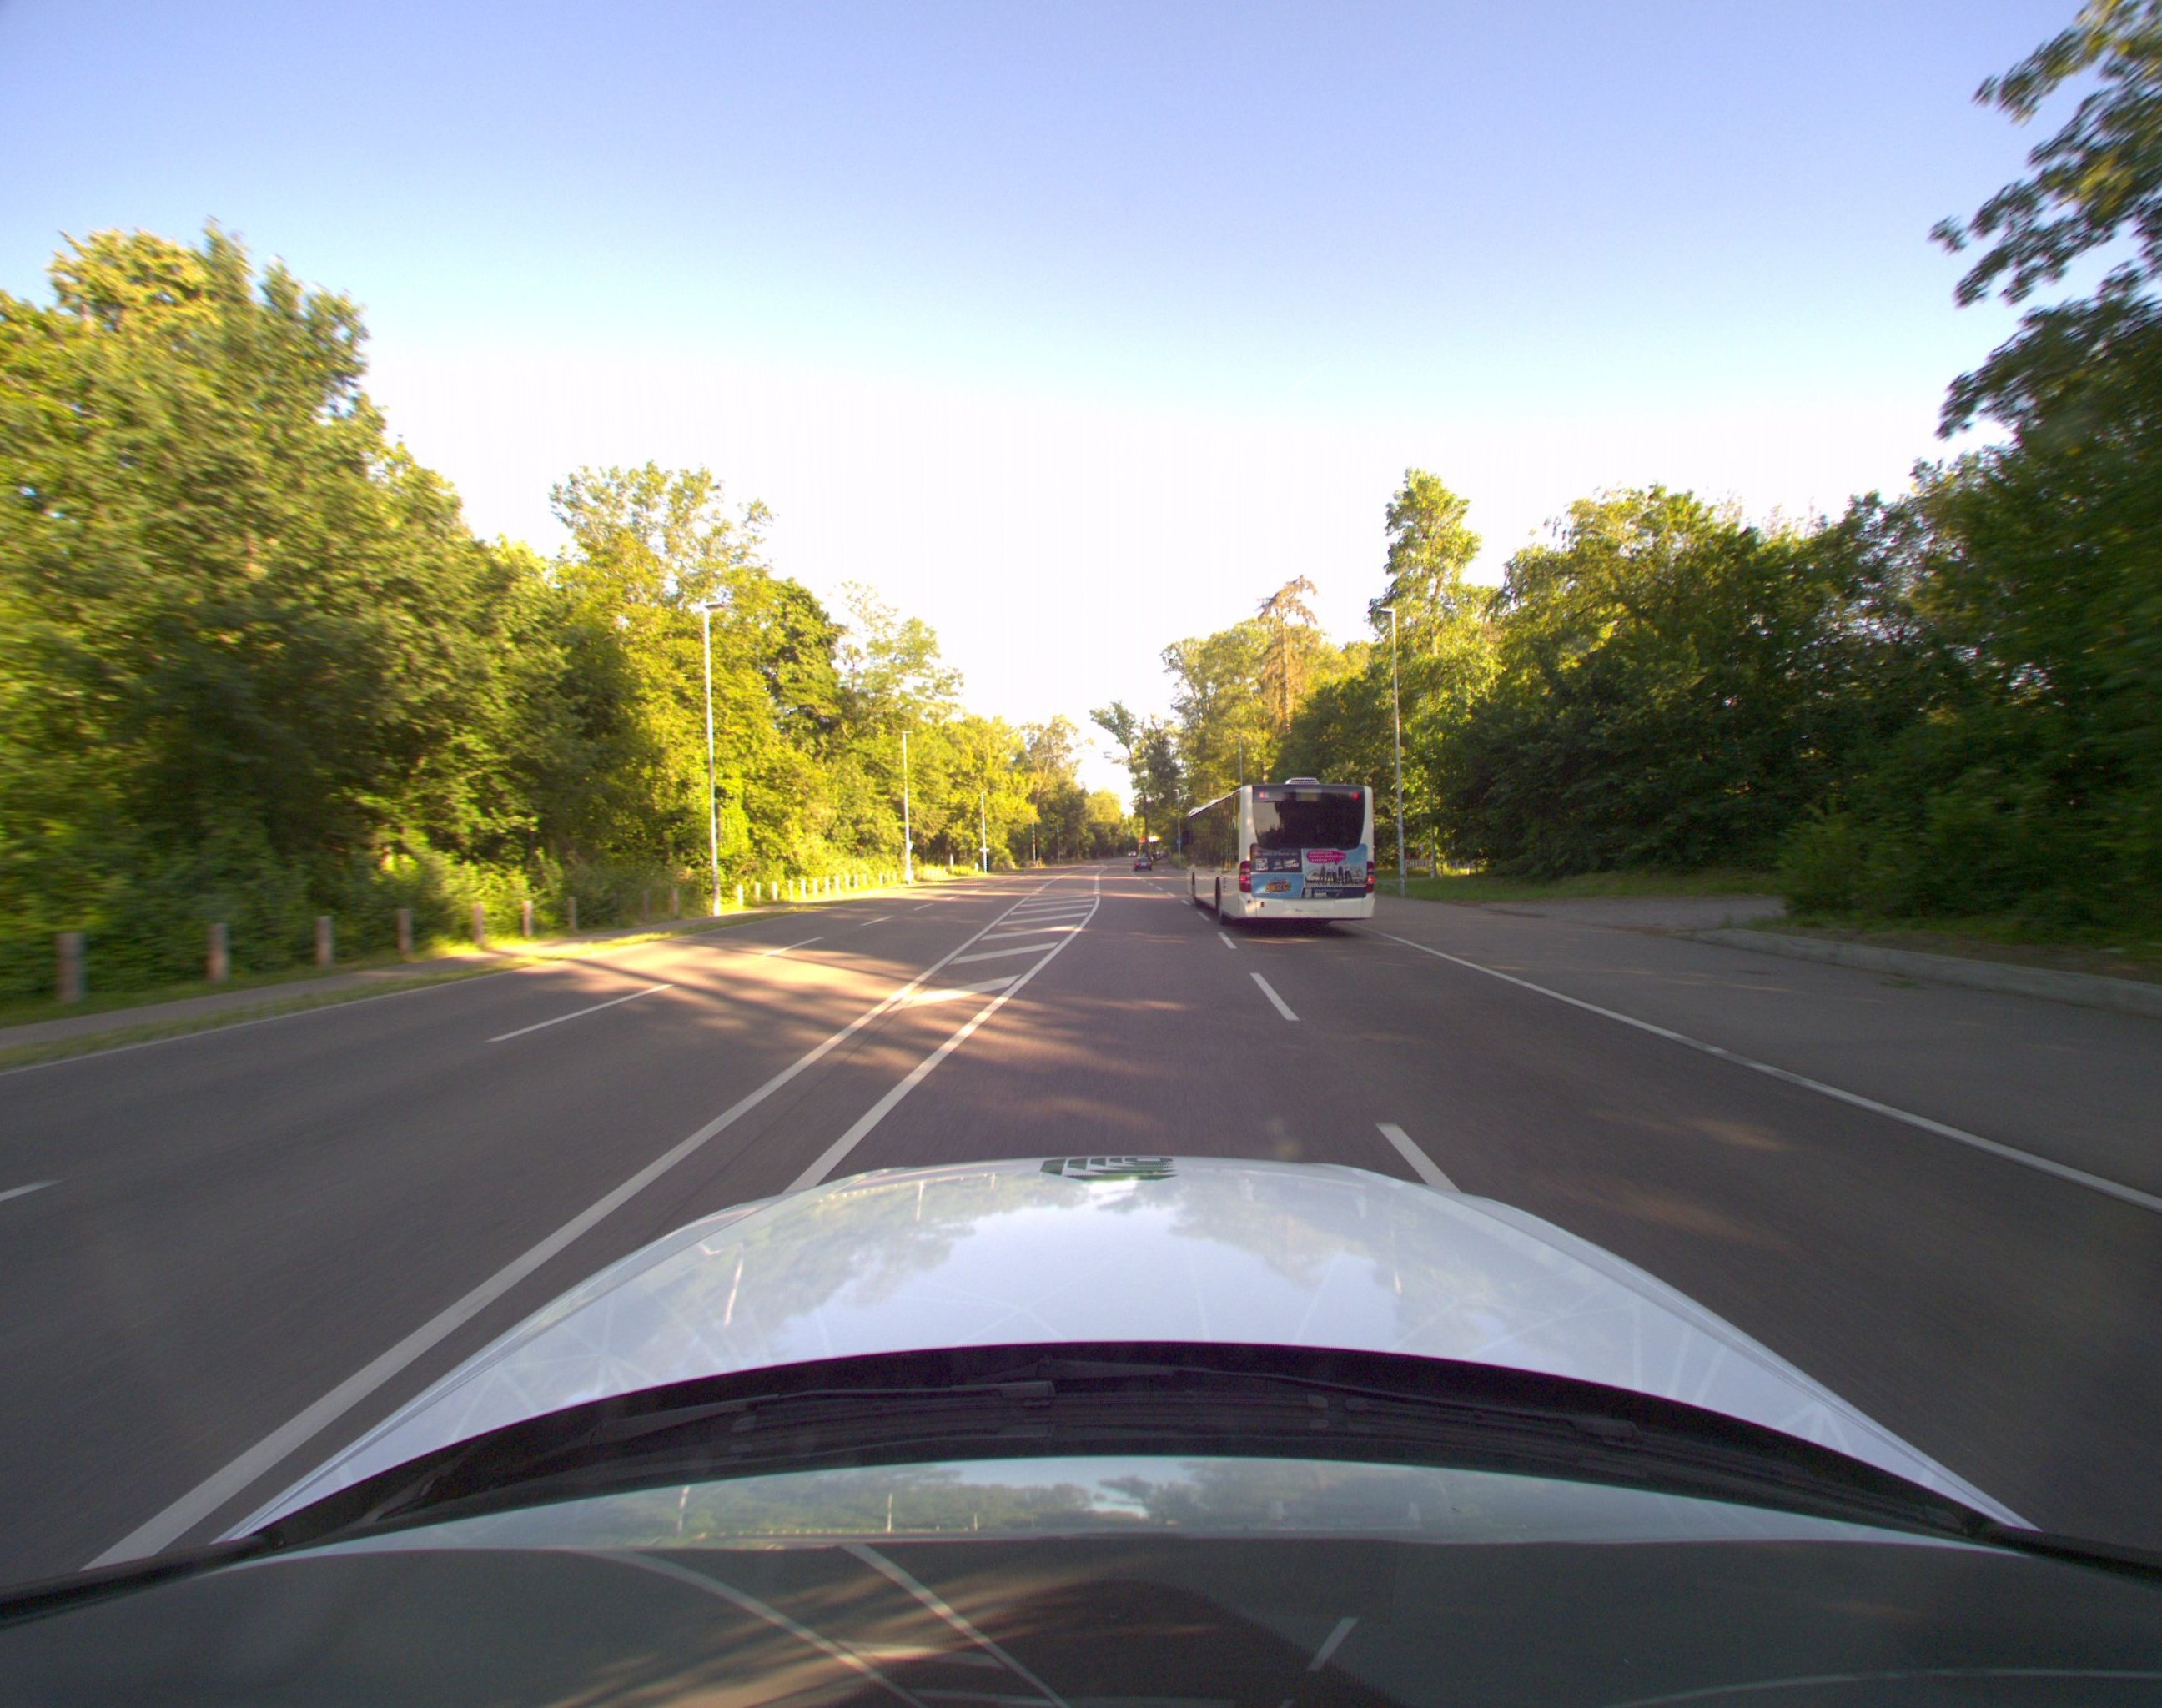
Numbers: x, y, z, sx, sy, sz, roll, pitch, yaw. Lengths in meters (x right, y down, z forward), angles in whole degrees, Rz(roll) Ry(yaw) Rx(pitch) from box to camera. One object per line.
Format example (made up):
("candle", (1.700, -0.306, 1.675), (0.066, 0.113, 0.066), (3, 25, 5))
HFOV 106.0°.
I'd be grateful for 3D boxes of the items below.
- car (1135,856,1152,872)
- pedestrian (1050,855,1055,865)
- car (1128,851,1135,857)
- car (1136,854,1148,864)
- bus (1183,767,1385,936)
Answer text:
("car", (6.431, 1.028, 83.609), (1.623, 1.547, 4.139), (-1, -1, 6))
("pedestrian", (-5.072, 1.083, 143.471), (0.776, 1.812, 0.770), (-1, 0, 2))
("car", (15.244, -0.015, 245.070), (1.853, 1.537, 4.139), (-1, -1, 6))
("car", (10.706, 0.899, 142.267), (1.621, 1.659, 4.145), (-1, -1, 12))
("bus", (4.423, 0.008, 20.809), (2.679, 3.042, 12.048), (-1, -1, 3))
